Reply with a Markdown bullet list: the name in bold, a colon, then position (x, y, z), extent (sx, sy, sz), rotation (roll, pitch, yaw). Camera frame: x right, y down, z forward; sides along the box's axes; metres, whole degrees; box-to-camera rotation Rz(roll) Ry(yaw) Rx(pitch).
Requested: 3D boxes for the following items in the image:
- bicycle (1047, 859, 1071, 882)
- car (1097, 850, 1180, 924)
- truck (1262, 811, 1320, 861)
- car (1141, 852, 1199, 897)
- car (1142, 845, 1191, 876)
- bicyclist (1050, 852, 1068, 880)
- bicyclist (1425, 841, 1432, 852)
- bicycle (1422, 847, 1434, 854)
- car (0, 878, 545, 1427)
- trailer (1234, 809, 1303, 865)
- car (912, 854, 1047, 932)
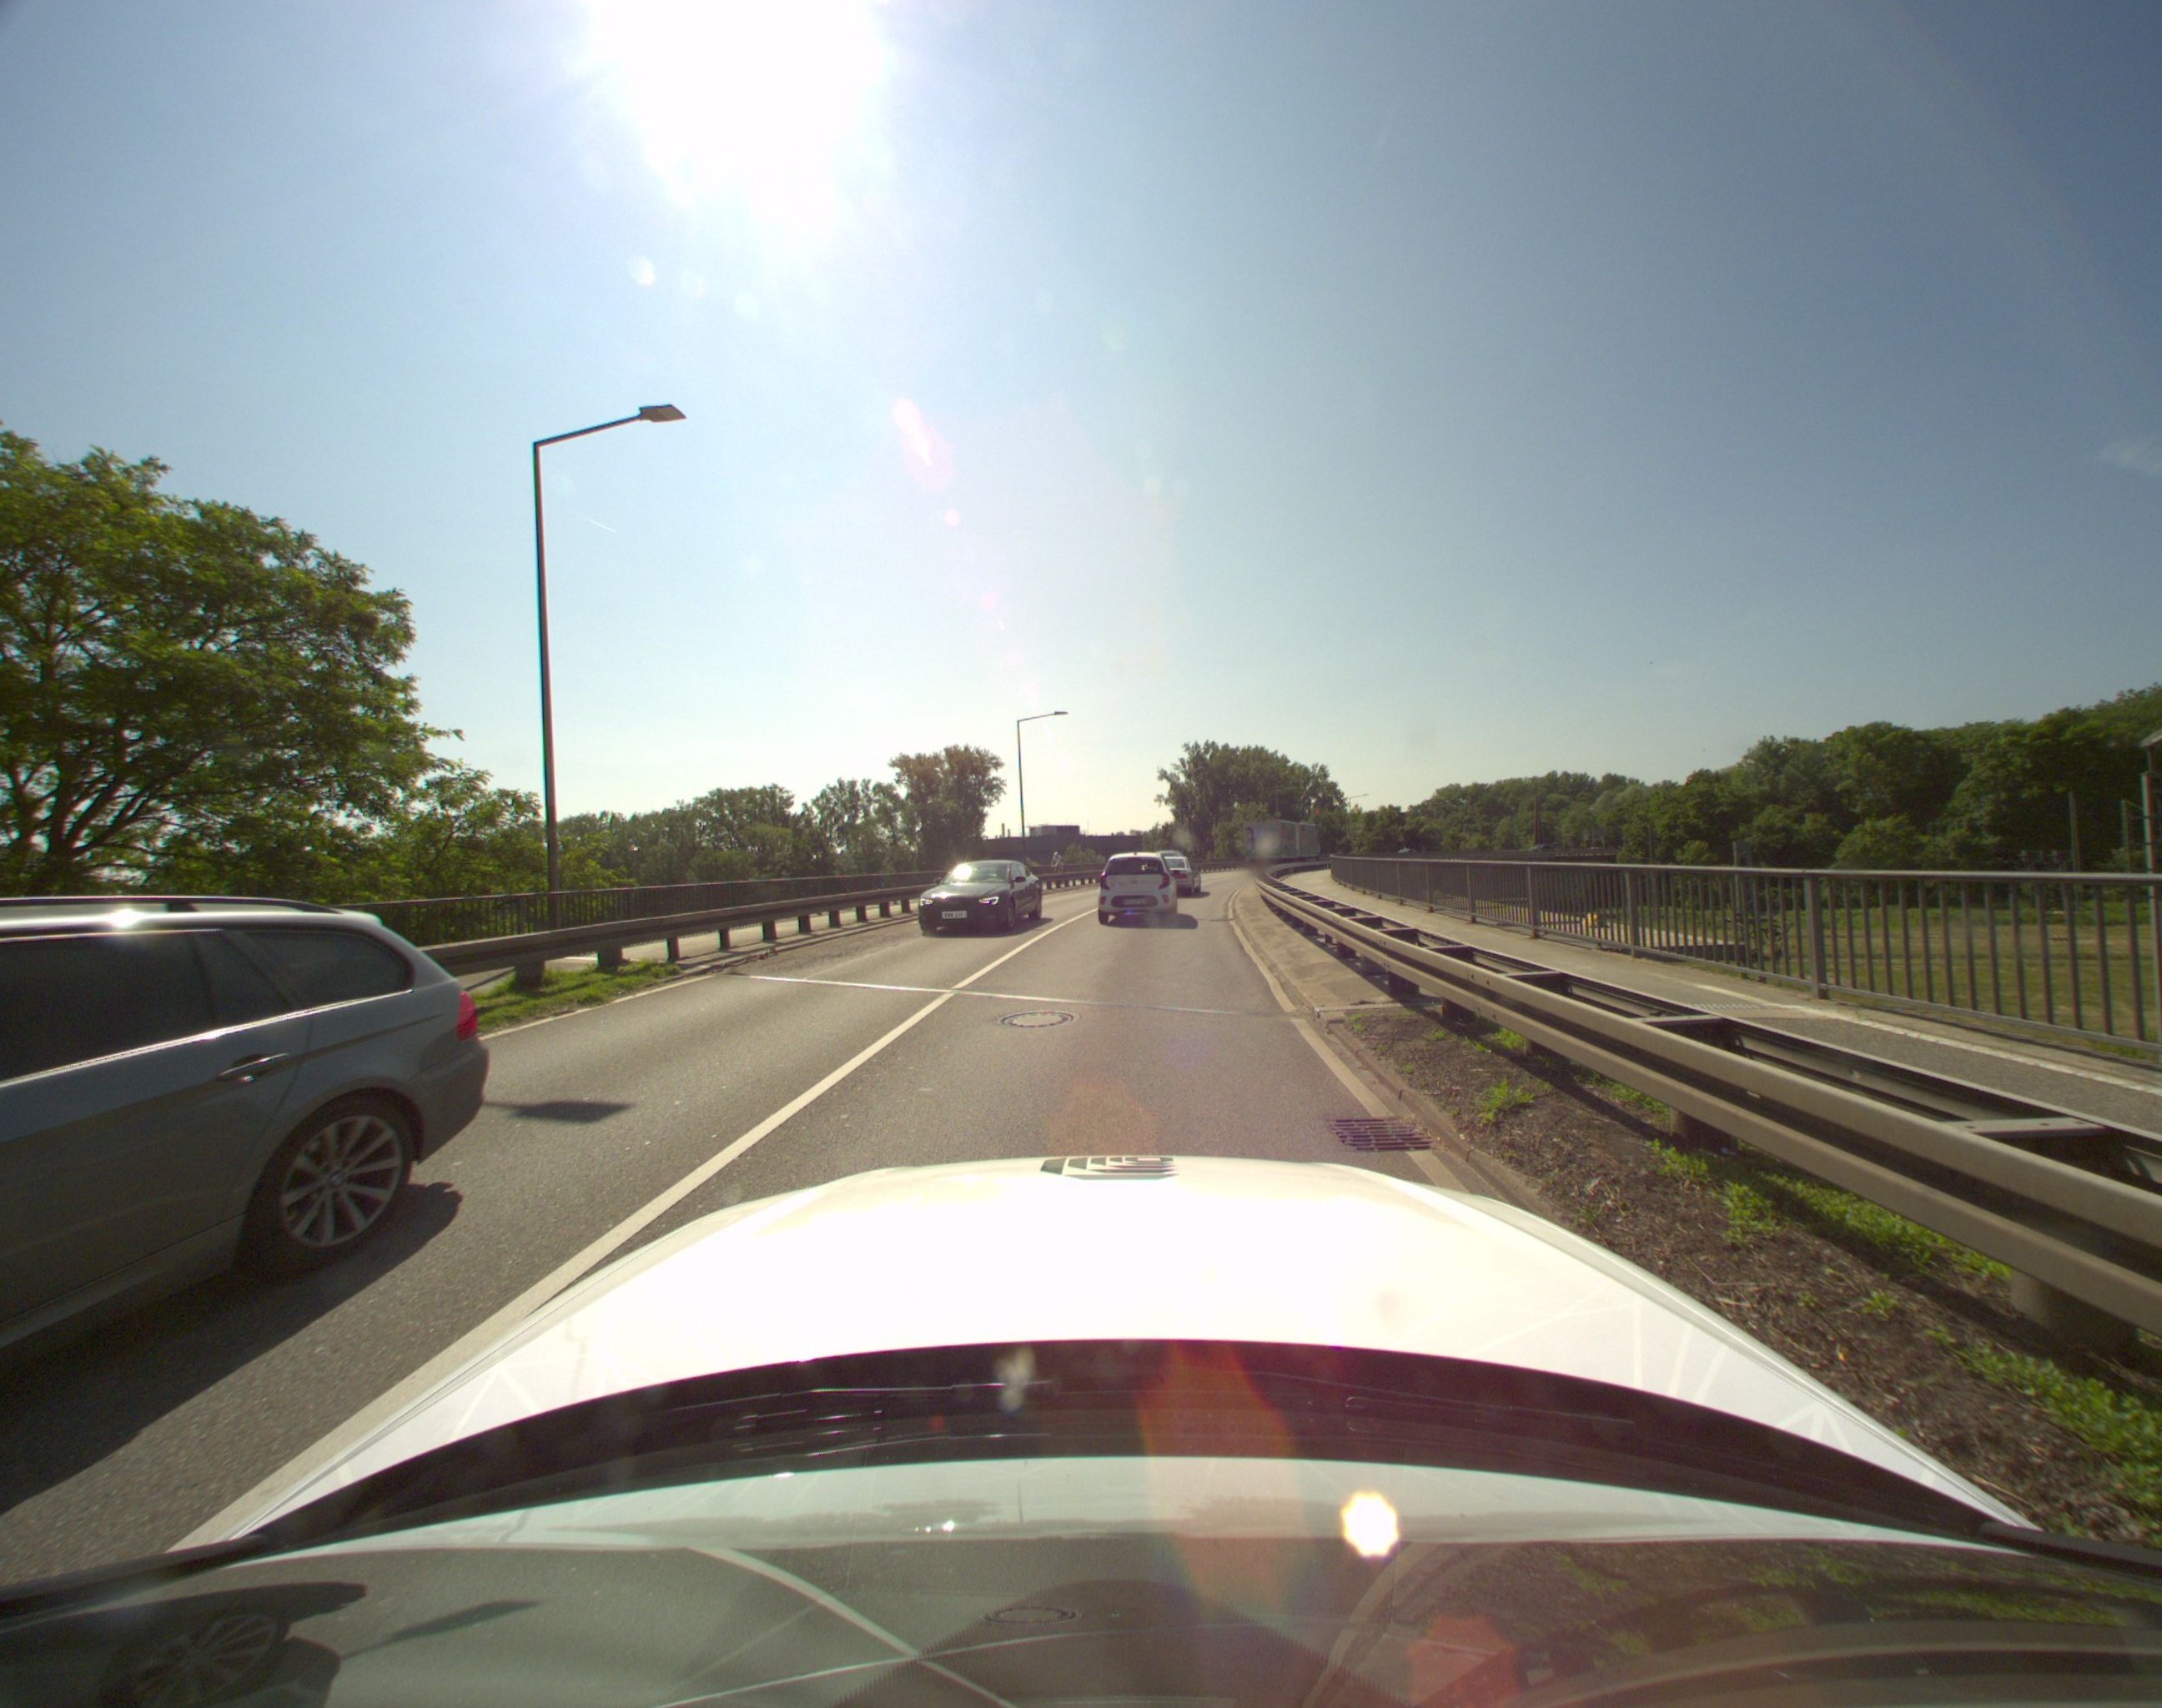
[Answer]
- **bicycle**: position (-1.158, 0.883, 42.691), extent (0.607, 1.135, 2.157), rotation (-4, -2, 14)
- **car**: position (1.348, 0.662, 18.711), extent (1.693, 1.494, 4.006), rotation (0, 0, 5)
- **truck**: position (17.121, -1.474, 66.001), extent (3.231, 3.757, 8.418), rotation (1, 2, 24)
- **car**: position (3.309, 0.689, 29.986), extent (1.929, 1.486, 4.909), rotation (-1, 0, 7)
- **car**: position (4.985, 0.379, 47.129), extent (1.843, 1.682, 4.494), rotation (0, -1, 19)
- **bicyclist**: position (-1.167, 0.627, 42.736), extent (0.604, 1.439, 1.082), rotation (-4, -2, 14)
- **bicyclist**: position (50.692, -1.091, 118.853), extent (0.654, 1.496, 1.022), rotation (-1, 1, 43)
- **bicycle**: position (50.727, -0.500, 118.922), extent (0.920, 0.891, 1.979), rotation (-1, 0, 44)
- **car**: position (-3.729, 0.832, 2.113), extent (1.710, 1.398, 4.186), rotation (-1, 0, 3)
- **trailer**: position (13.652, -1.282, 58.820), extent (3.195, 3.757, 7.871), rotation (1, 2, 26)
- **car**: position (-2.007, 0.766, 17.463), extent (1.728, 1.457, 4.309), rotation (-1, -1, 9)
